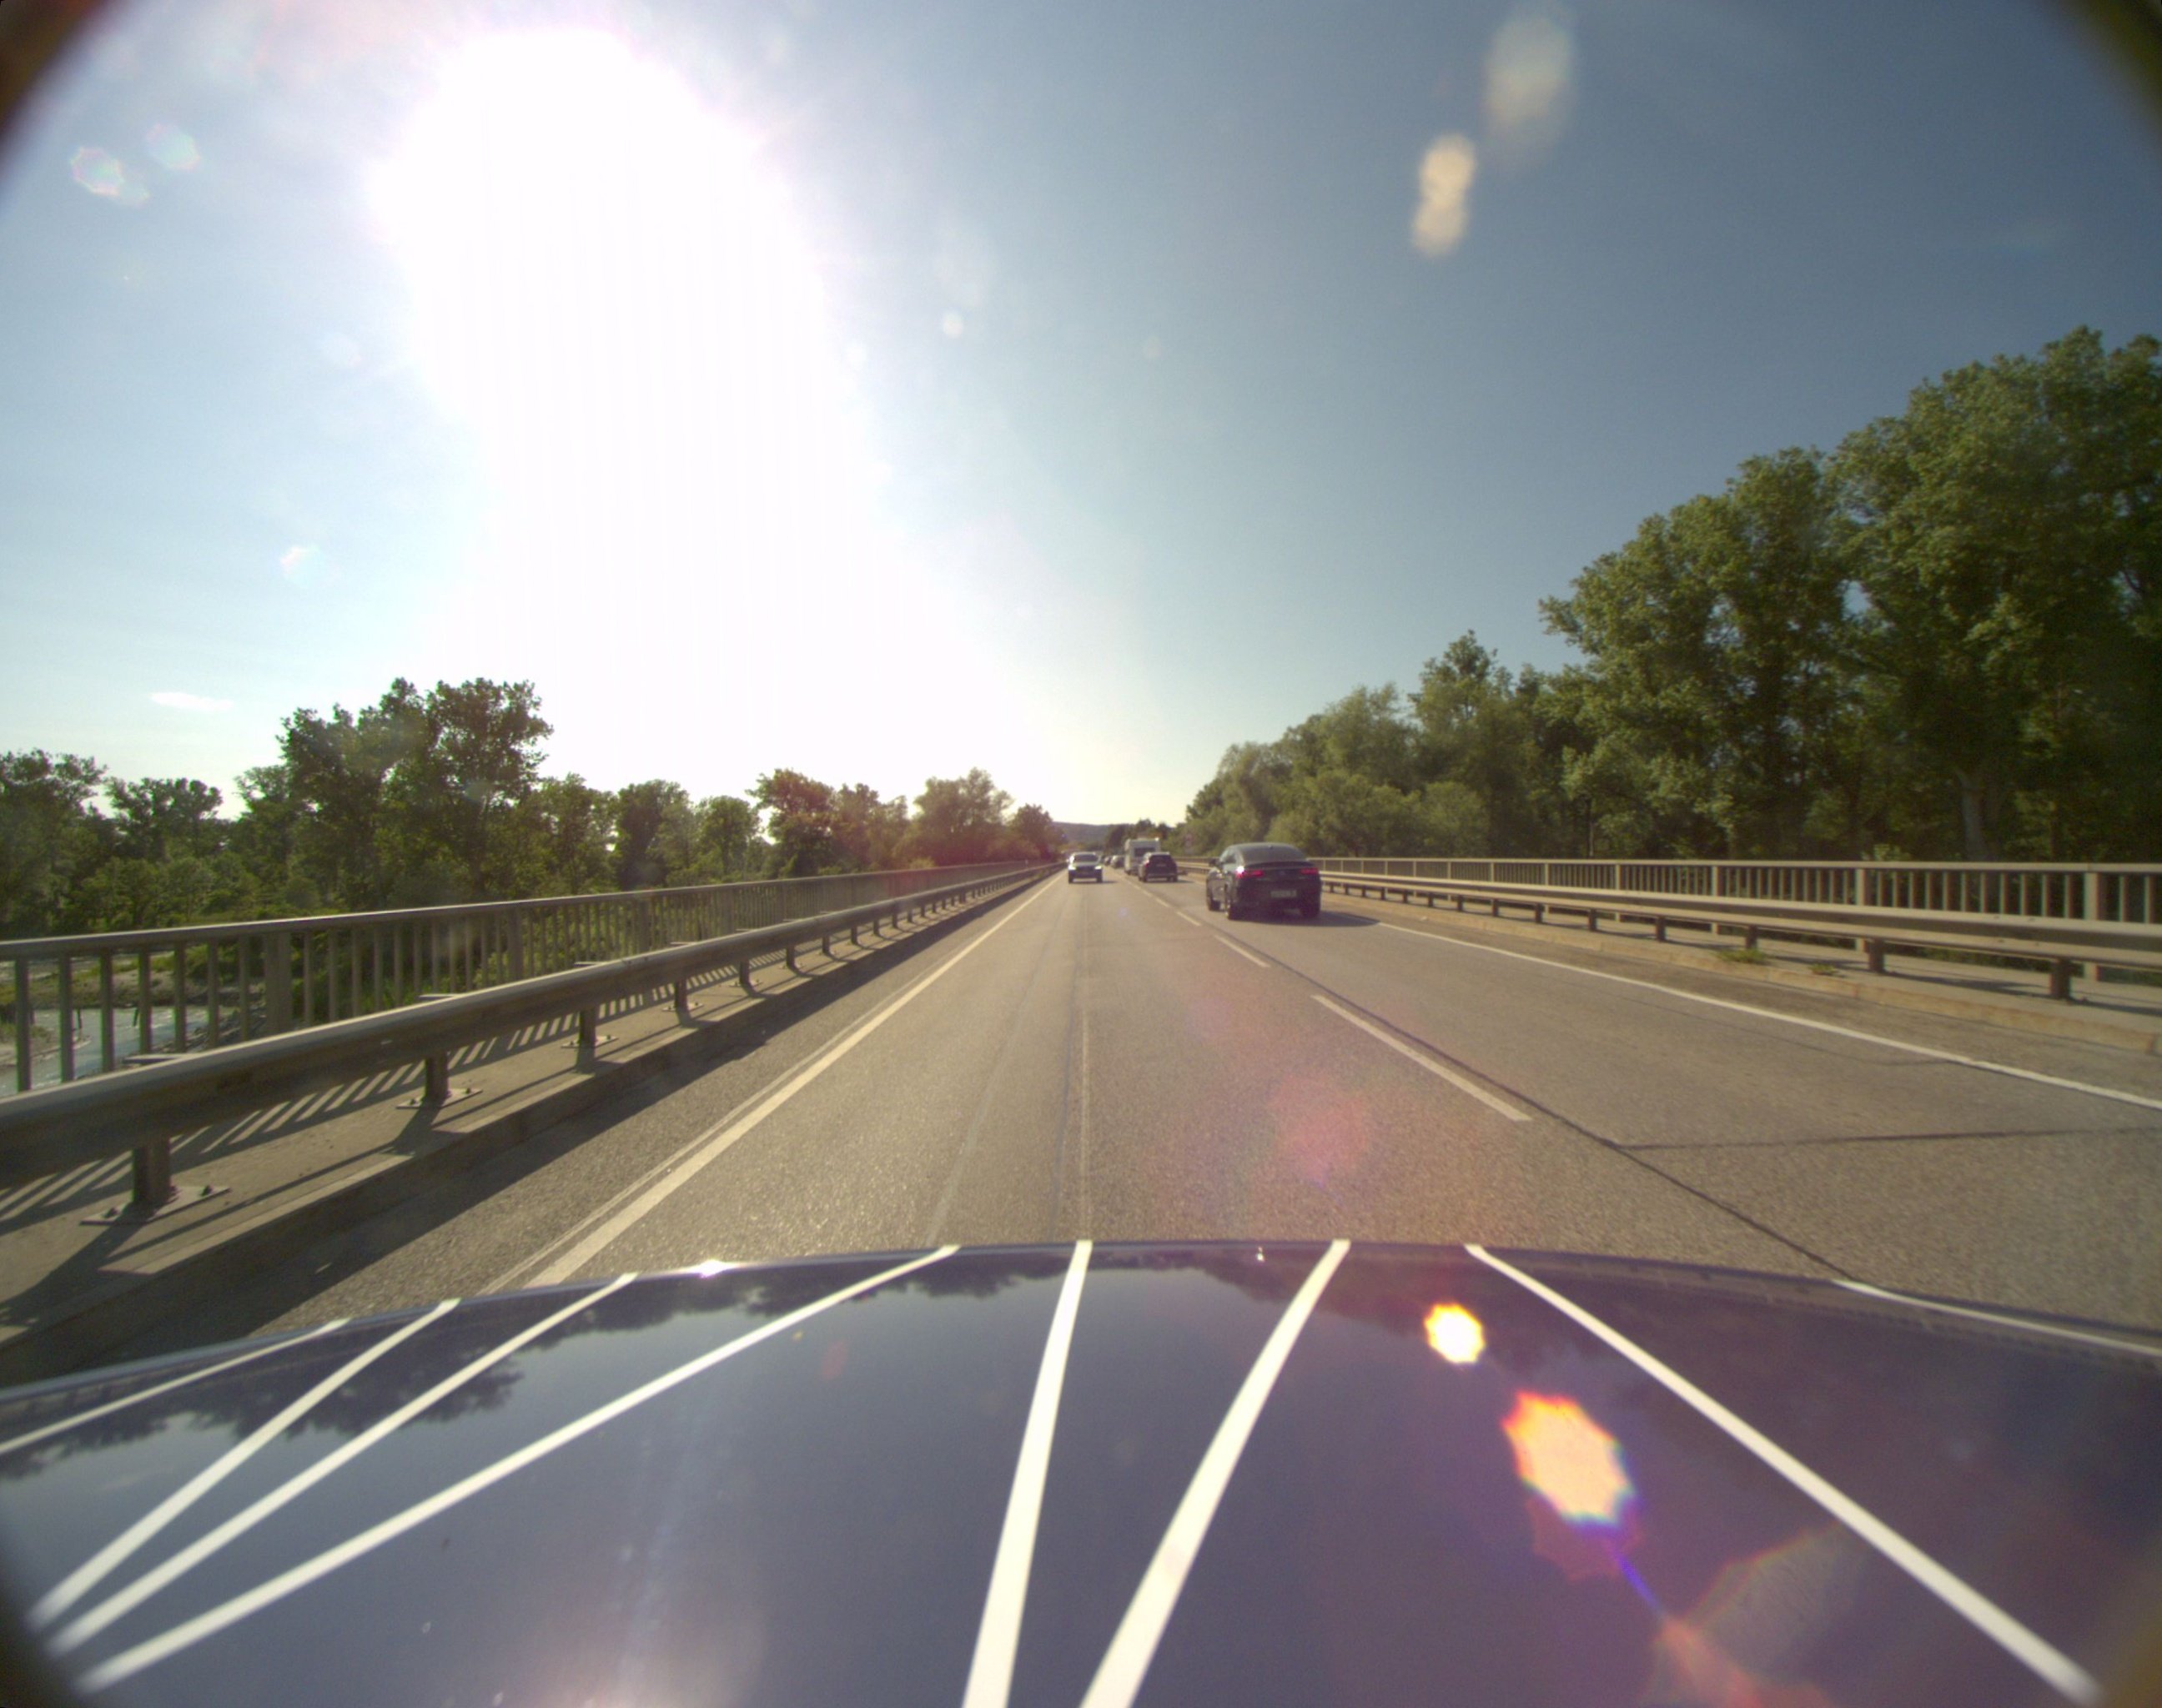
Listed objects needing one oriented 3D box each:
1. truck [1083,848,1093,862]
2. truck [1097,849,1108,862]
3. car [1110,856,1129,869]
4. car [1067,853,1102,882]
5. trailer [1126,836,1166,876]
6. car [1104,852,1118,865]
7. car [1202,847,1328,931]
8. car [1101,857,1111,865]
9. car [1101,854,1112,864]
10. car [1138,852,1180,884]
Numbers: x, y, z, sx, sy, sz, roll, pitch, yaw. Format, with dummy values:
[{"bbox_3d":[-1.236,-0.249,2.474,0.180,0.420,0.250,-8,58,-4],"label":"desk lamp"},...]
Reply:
[{"bbox_3d":[2.195,0.354,237.487,2.744,4.303,8.130,-2,0,0],"label":"truck"},{"bbox_3d":[5.522,0.447,199.226,2.620,3.235,6.967,-2,0,0],"label":"truck"},{"bbox_3d":[4.339,0.928,85.629,1.791,1.412,4.650,-1,0,-1],"label":"car"},{"bbox_3d":[0.250,0.744,44.366,1.871,1.598,4.380,-2,0,1],"label":"car"},{"bbox_3d":[4.837,0.123,58.056,2.561,2.721,8.063,-2,0,2],"label":"trailer"},{"bbox_3d":[4.455,0.632,113.552,1.972,1.796,4.530,-2,0,1],"label":"car"},{"bbox_3d":[4.219,0.733,18.181,1.954,1.684,4.477,-2,0,1],"label":"car"},{"bbox_3d":[5.275,1.448,160.486,1.825,1.537,4.061,-3,0,-1],"label":"car"},{"bbox_3d":[4.782,0.881,142.606,1.972,1.796,4.530,-4,0,1],"label":"car"},{"bbox_3d":[4.293,0.732,42.209,1.807,1.651,4.433,-1,0,0],"label":"car"}]
